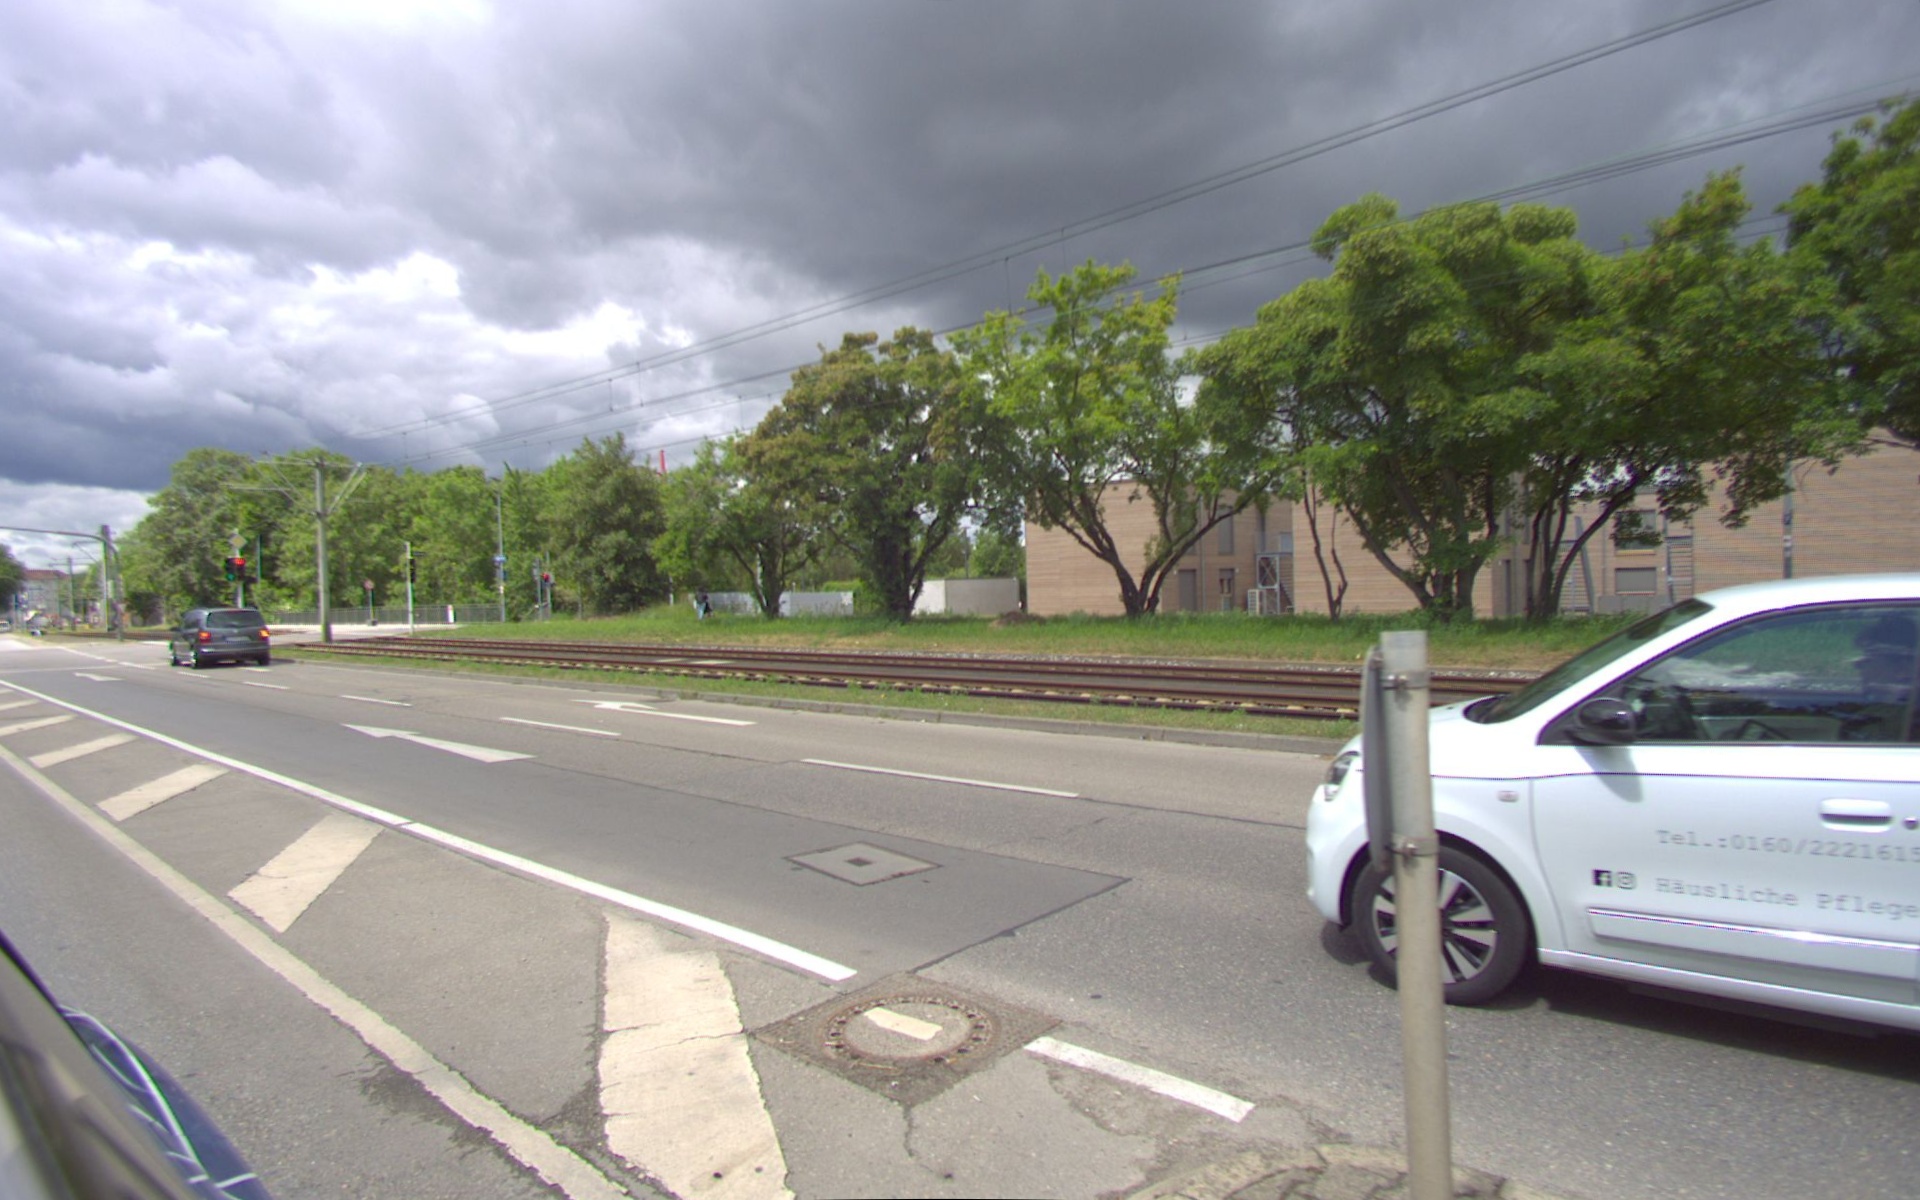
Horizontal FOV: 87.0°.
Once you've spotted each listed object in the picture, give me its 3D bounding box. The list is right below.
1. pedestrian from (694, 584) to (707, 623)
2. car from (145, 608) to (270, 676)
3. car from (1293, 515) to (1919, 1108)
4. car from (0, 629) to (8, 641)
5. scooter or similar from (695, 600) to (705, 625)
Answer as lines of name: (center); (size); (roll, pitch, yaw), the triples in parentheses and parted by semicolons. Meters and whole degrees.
pedestrian: (-11.803, 0.152, 46.014); (0.484, 1.736, 0.802); (-2, 1, -17)
car: (-21.125, 1.096, 28.353); (4.522, 1.672, 1.972); (0, 2, 43)
car: (3.461, 0.568, 3.195); (4.259, 1.624, 1.712); (0, 0, 39)
car: (-125.138, 4.598, 131.605); (4.855, 1.358, 1.765); (0, 2, 45)
scooter or similar: (-12.018, 0.573, 46.770); (0.375, 1.084, 0.720); (-2, 1, -15)
